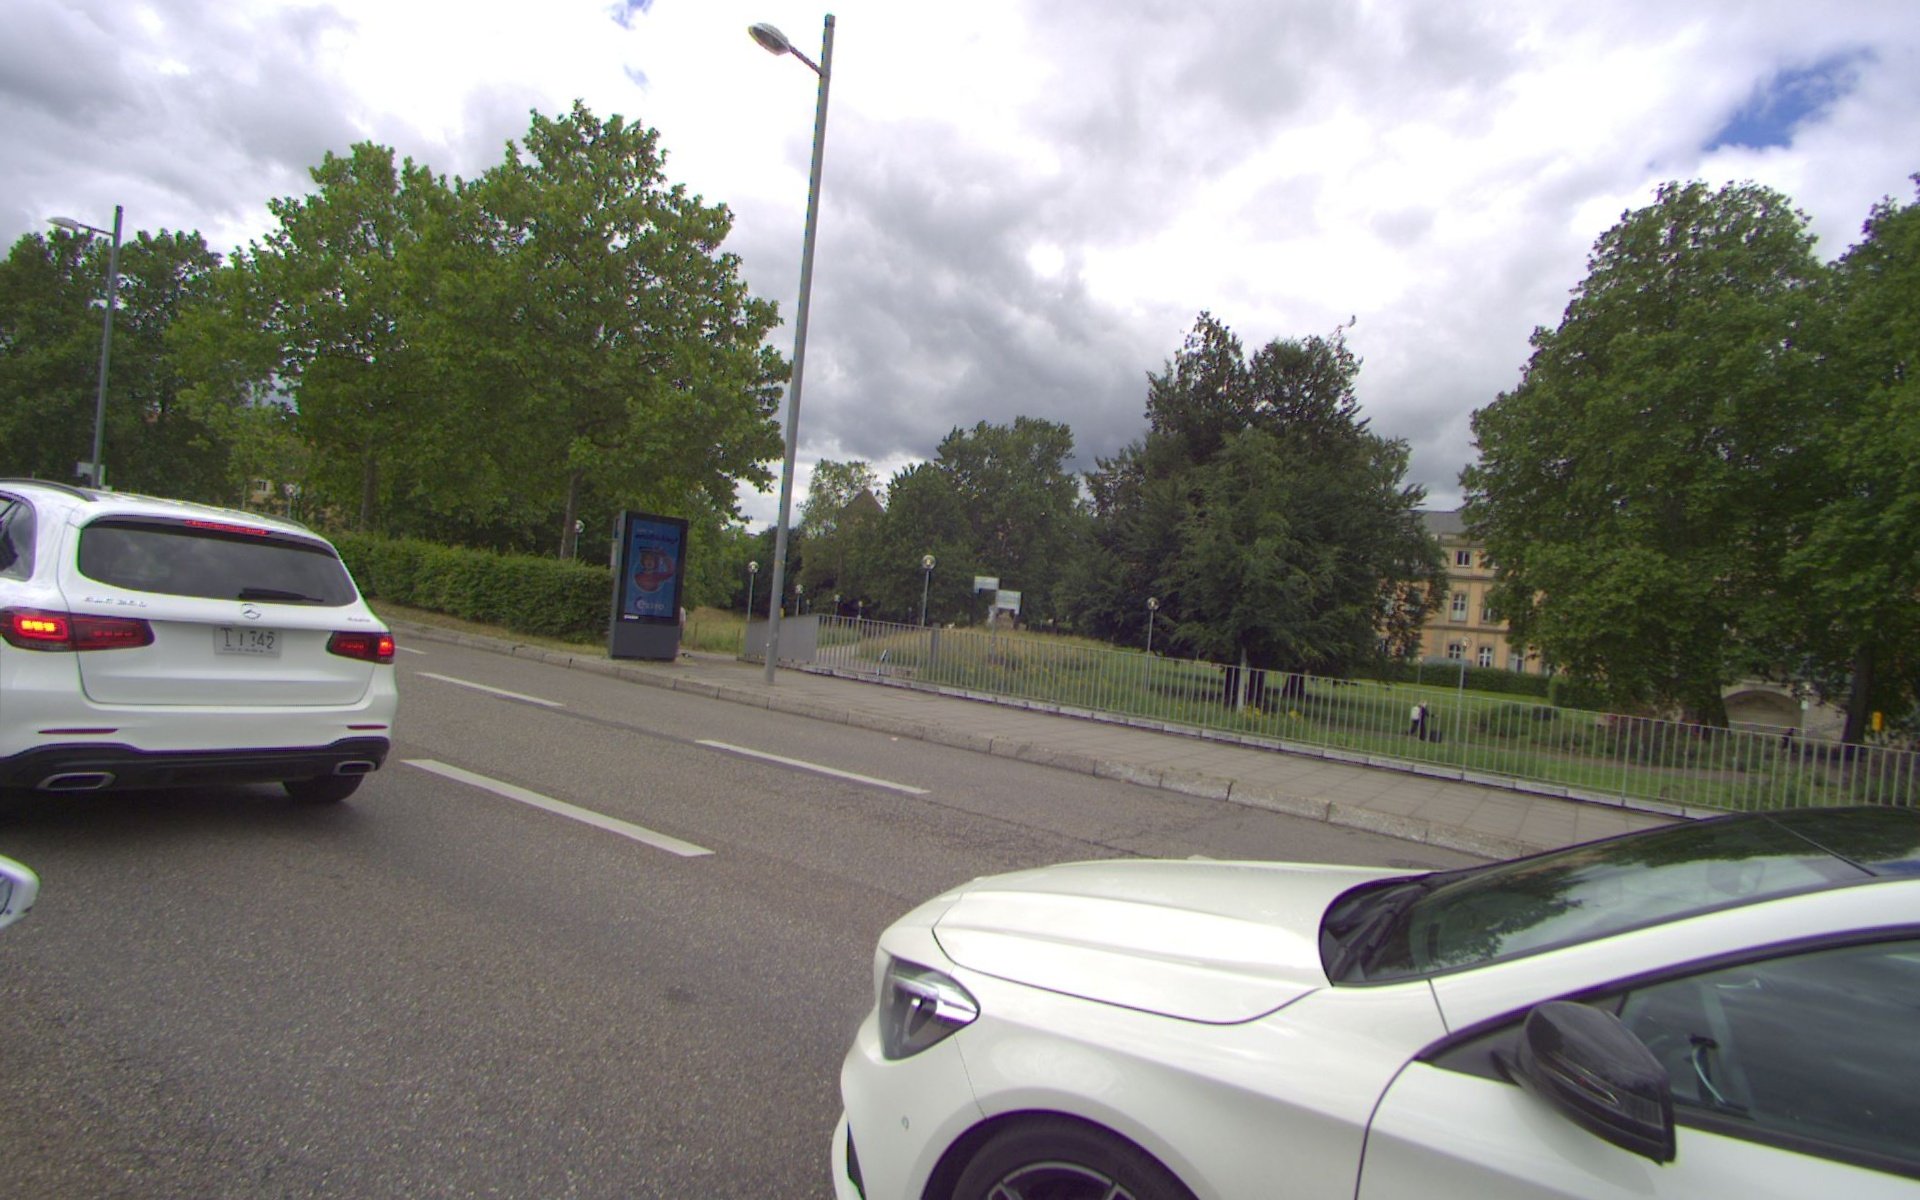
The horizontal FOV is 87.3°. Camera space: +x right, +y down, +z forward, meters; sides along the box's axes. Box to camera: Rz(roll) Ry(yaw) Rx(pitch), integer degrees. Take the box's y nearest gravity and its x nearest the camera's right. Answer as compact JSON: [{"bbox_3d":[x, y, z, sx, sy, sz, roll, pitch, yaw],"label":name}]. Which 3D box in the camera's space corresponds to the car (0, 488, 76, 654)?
[{"bbox_3d":[-11.318,-0.506,10.491,4.417,1.569,1.929,6,-2,33],"label":"car"}]

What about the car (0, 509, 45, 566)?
[{"bbox_3d":[-29.095,-1.980,29.895,4.459,1.476,1.933,5,-3,37],"label":"car"}]

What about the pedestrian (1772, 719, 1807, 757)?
[{"bbox_3d":[48.279,8.028,58.577,0.928,2.036,1.103,7,-2,-14],"label":"pedestrian"}]

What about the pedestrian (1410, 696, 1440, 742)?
[{"bbox_3d":[17.200,4.393,37.226,0.645,1.619,0.684,7,-2,-2],"label":"pedestrian"}]

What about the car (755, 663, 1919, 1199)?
[{"bbox_3d":[1.915,1.112,1.833,4.454,1.436,1.796,5,-2,33],"label":"car"}]

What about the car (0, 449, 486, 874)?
[{"bbox_3d":[-5.060,0.126,5.942,4.417,1.673,1.929,6,-1,33],"label":"car"}]
